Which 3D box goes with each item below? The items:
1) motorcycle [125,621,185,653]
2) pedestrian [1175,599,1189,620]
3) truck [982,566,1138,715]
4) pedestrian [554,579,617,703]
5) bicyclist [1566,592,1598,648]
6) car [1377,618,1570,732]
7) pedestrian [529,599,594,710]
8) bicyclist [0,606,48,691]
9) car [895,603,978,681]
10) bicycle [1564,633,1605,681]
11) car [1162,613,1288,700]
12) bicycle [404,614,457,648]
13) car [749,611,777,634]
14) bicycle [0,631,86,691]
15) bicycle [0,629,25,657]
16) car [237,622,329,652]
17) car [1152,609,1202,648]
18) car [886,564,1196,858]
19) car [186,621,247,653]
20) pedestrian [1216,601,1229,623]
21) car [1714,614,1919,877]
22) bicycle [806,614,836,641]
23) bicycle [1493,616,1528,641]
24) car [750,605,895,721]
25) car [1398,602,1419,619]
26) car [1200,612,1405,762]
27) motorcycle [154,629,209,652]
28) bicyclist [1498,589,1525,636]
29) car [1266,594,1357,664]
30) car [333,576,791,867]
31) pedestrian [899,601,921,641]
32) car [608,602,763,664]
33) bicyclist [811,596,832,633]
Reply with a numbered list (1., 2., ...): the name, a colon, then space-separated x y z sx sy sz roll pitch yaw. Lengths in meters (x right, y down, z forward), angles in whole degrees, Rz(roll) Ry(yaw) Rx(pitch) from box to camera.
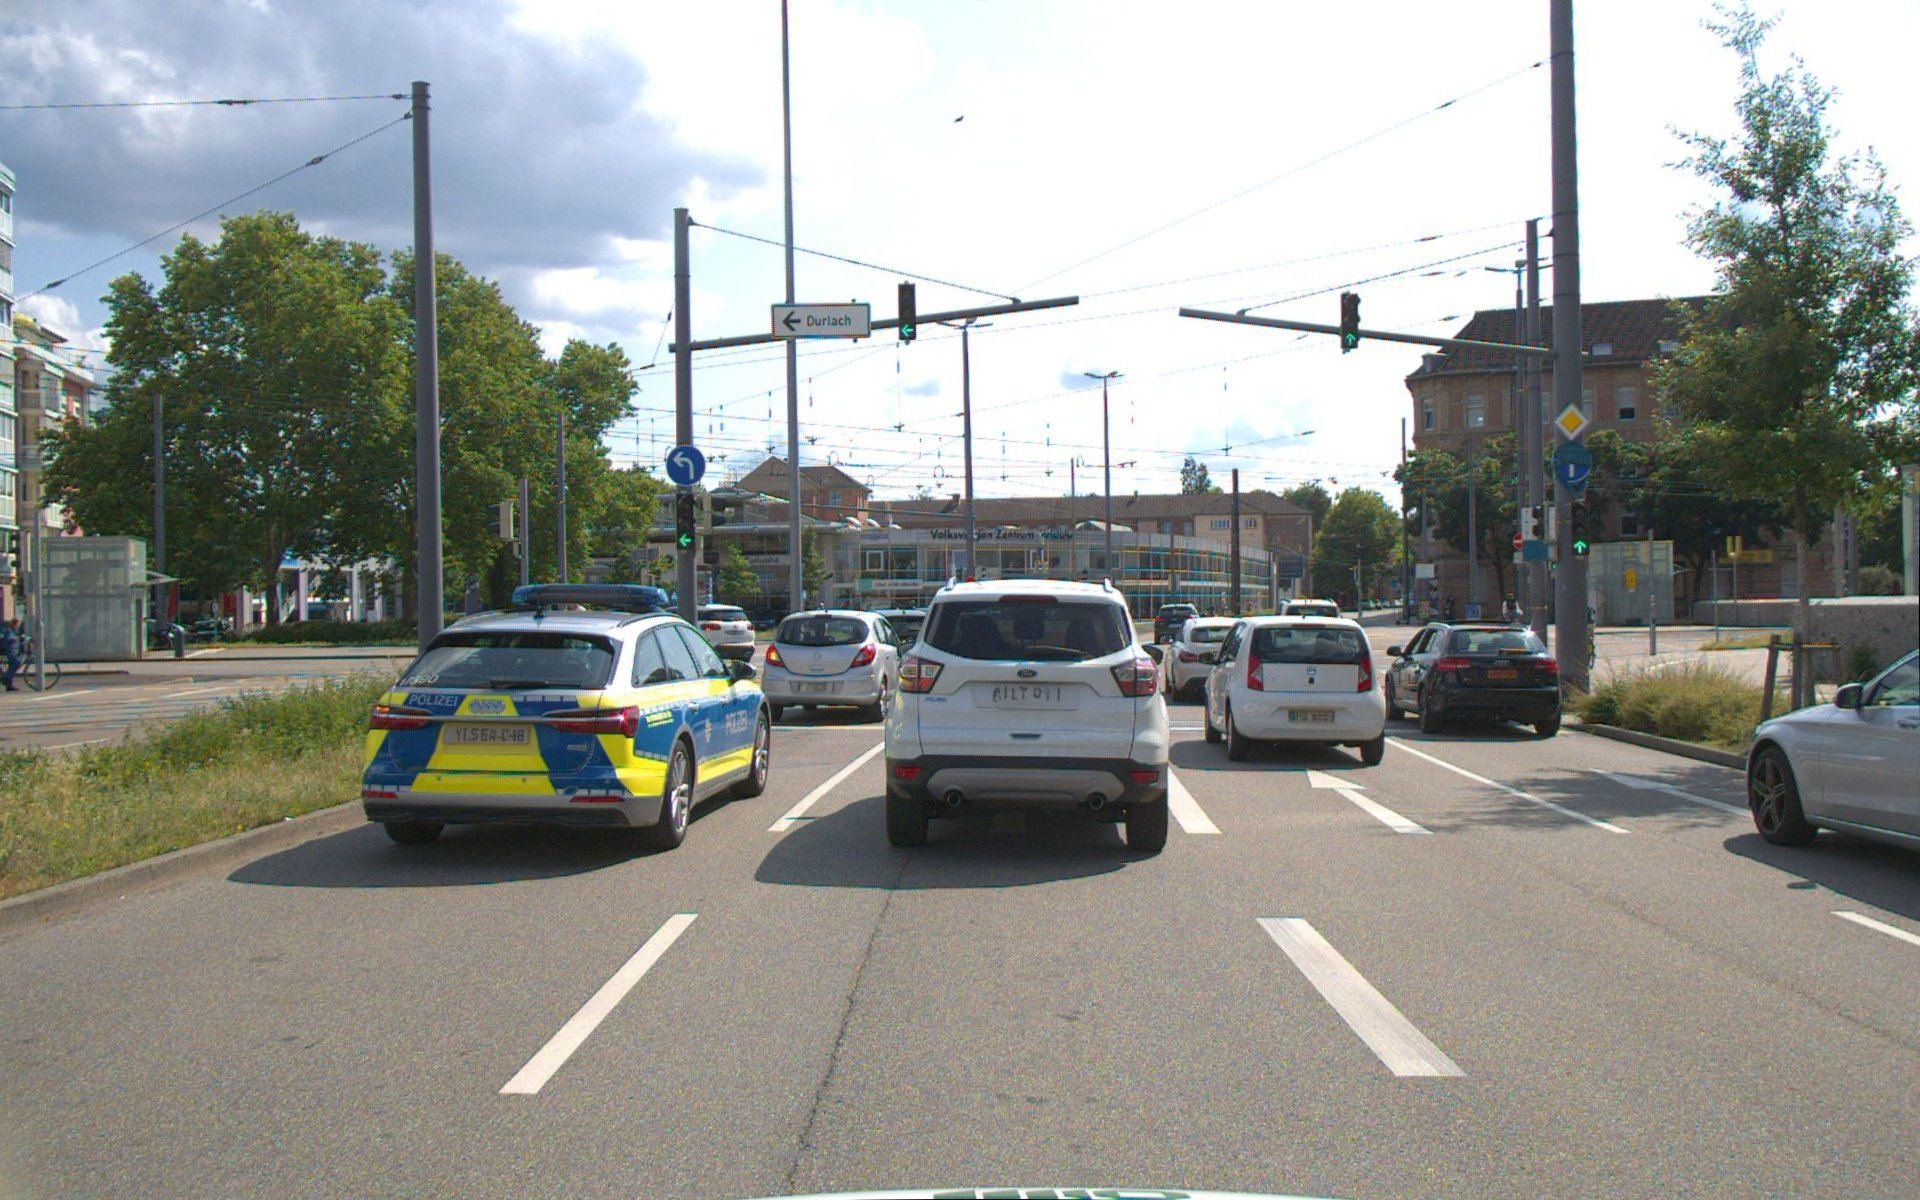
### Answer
1. motorcycle: -33.201 1.528 68.237 2.165 1.259 0.906 -1 0 17
2. pedestrian: 18.772 0.795 139.614 0.860 1.768 0.873 0 -1 35
3. truck: 1.811 0.616 27.667 2.289 2.193 5.855 1 0 6
4. pedestrian: -6.029 0.653 26.649 0.830 1.950 0.692 -1 -1 -2
5. bicyclist: 14.512 0.466 38.603 0.622 1.241 0.924 -3 0 23
6. car: 6.886 0.947 22.562 1.663 1.396 4.135 0 -1 5
7. pedestrian: -6.221 0.846 25.826 0.830 1.677 0.692 -1 -1 -2
8. bicyclist: -20.182 1.034 34.950 1.271 1.761 0.994 -1 -1 -3
9. car: -0.565 0.899 37.046 1.727 1.595 4.525 -1 0 -2
10. bicycle: 14.536 1.316 38.477 0.829 0.987 1.961 -4 0 21
11. car: 4.627 0.958 29.329 1.811 1.444 3.680 0 -1 3
12. bicycle: -22.846 1.322 71.341 2.133 1.439 0.809 0 0 -16
13. car: -14.107 1.639 118.544 1.783 1.560 3.912 -2 -1 -5
14. bicycle: -19.891 1.289 34.961 2.248 1.209 0.994 -2 -1 -4
15. bicycle: -40.761 1.833 70.035 1.914 1.167 0.792 0 -1 -19
16. car: -33.885 1.850 82.808 3.907 1.350 1.632 -2 -2 -3
17. car: 8.224 1.064 62.918 1.810 1.444 3.681 0 -1 7
18. car: 0.564 0.662 11.592 1.789 1.693 3.957 0 -1 3
19. car: -35.744 1.816 79.636 1.872 1.438 3.987 -1 -2 -12
20. pedestrian: 23.088 1.064 145.691 0.859 1.956 0.874 0 -1 32
21. car: 6.352 0.827 9.514 1.891 1.481 4.759 0 0 0
22. bicycle: -6.470 1.268 77.178 0.743 1.213 2.152 -2 0 14
23. bicycle: 17.544 0.896 52.714 0.572 0.789 1.621 -1 0 1
24. car: -1.892 0.851 23.849 1.810 1.500 3.999 -1 -1 -1
25. car: 45.093 1.060 166.313 1.798 1.681 4.001 0 -1 19
26. car: 3.717 0.882 18.553 1.615 1.447 4.001 -1 0 2
27. motorcycle: -34.373 1.772 73.057 0.795 0.933 2.037 -1 1 36
28. bicyclist: 17.567 0.410 52.663 0.595 1.476 0.774 -1 -1 1
29. car: 8.866 0.735 42.037 1.797 1.681 4.002 0 -1 5
30. car: -2.456 0.689 11.497 1.841 1.595 4.617 -1 0 3
31. pedestrian: -2.200 0.930 72.912 0.904 1.774 0.589 1 -1 5
32. car: -7.474 0.867 44.828 2.030 1.606 4.466 1 -1 -43
33. bicyclist: -6.467 0.676 77.261 0.743 1.712 0.761 -2 -1 14
